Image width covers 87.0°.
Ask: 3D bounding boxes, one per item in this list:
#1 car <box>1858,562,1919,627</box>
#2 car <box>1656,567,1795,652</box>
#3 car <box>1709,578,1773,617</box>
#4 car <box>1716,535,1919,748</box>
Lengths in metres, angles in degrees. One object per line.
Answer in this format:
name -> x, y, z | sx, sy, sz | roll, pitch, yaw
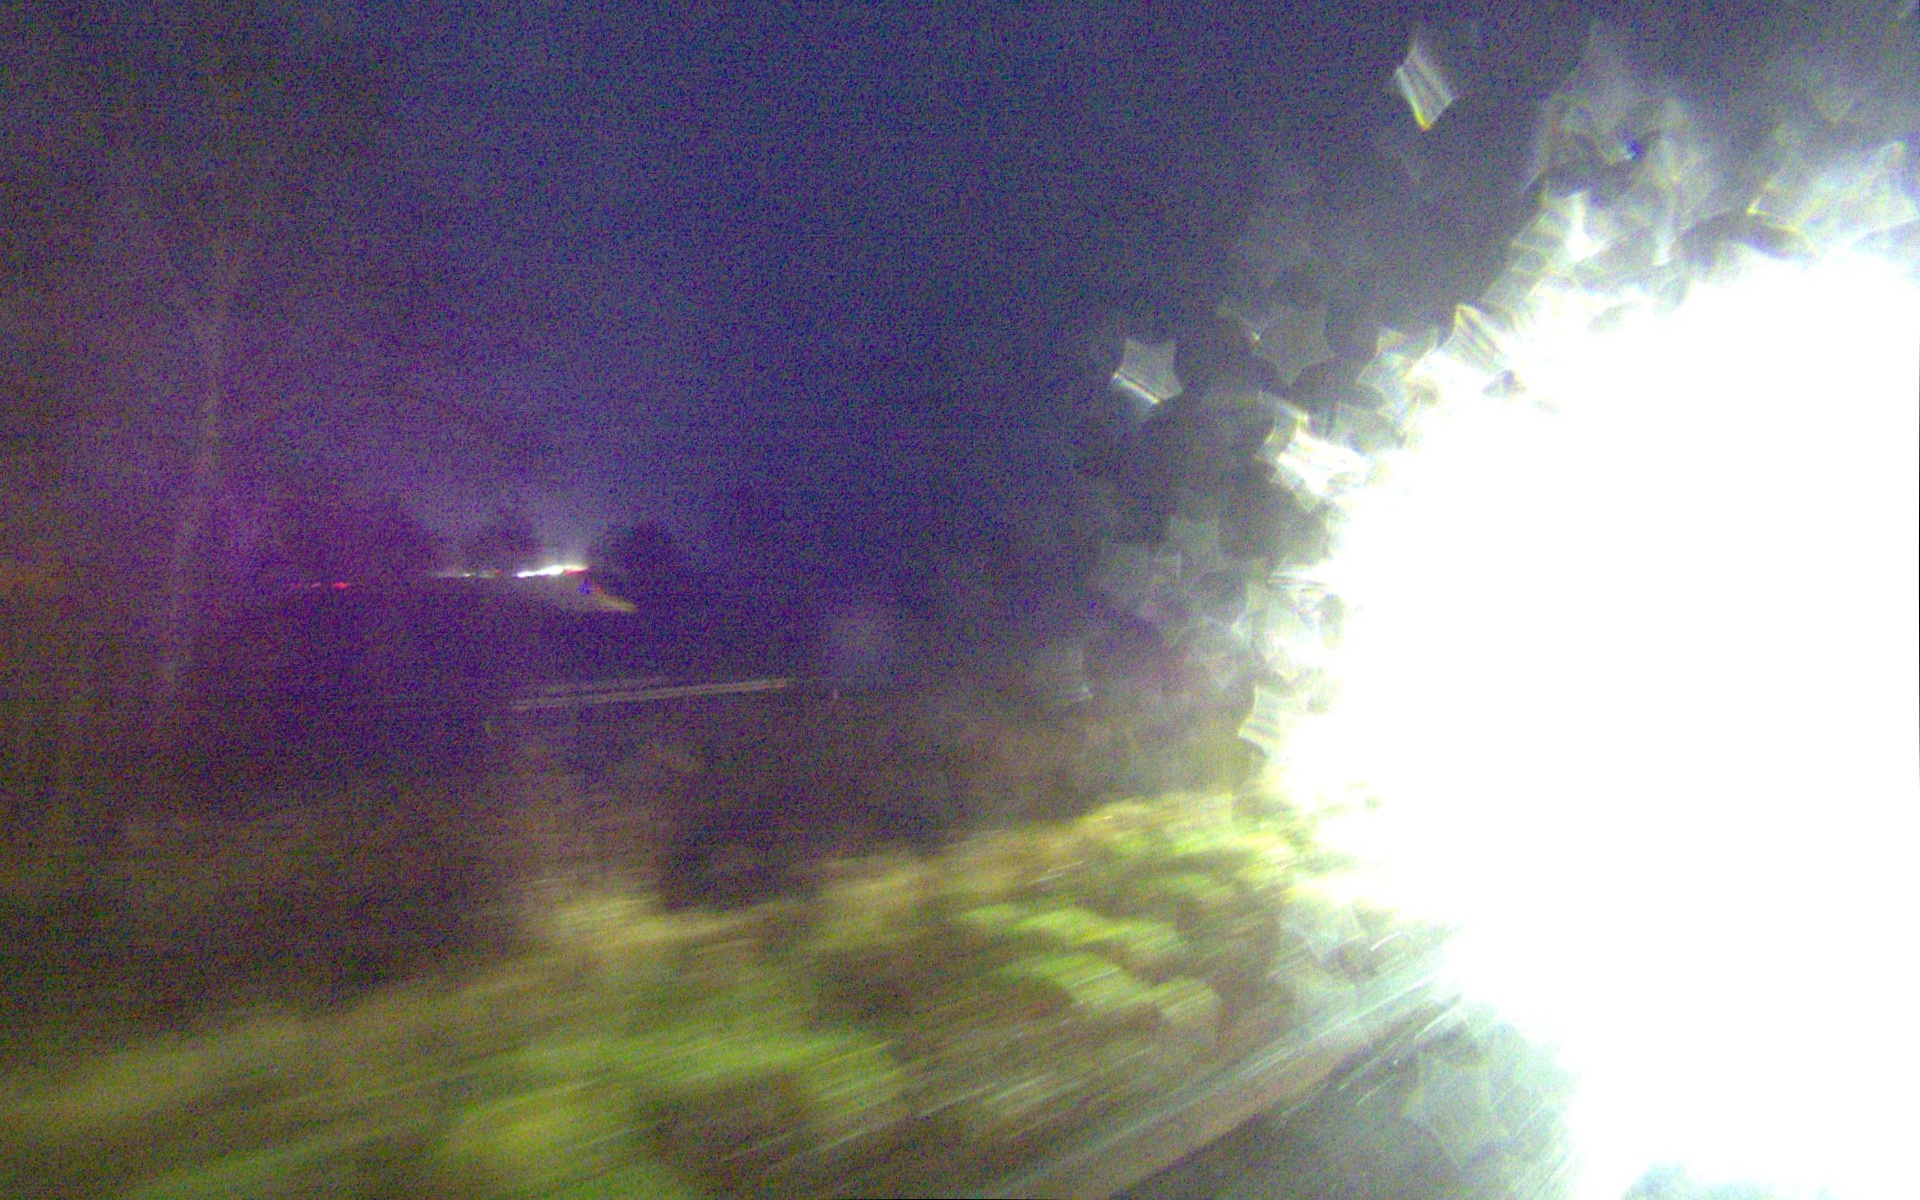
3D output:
car -> 27.220, -0.169, 28.738 | 1.835, 1.727, 4.083 | 1, 1, 31
car -> 15.407, 0.200, 20.561 | 1.673, 1.552, 3.946 | -2, -1, 29
car -> 32.462, -0.131, 42.156 | 1.668, 1.463, 4.129 | 0, 2, 32
car -> 9.864, 0.306, 11.077 | 1.987, 1.949, 4.324 | -1, 2, 30
